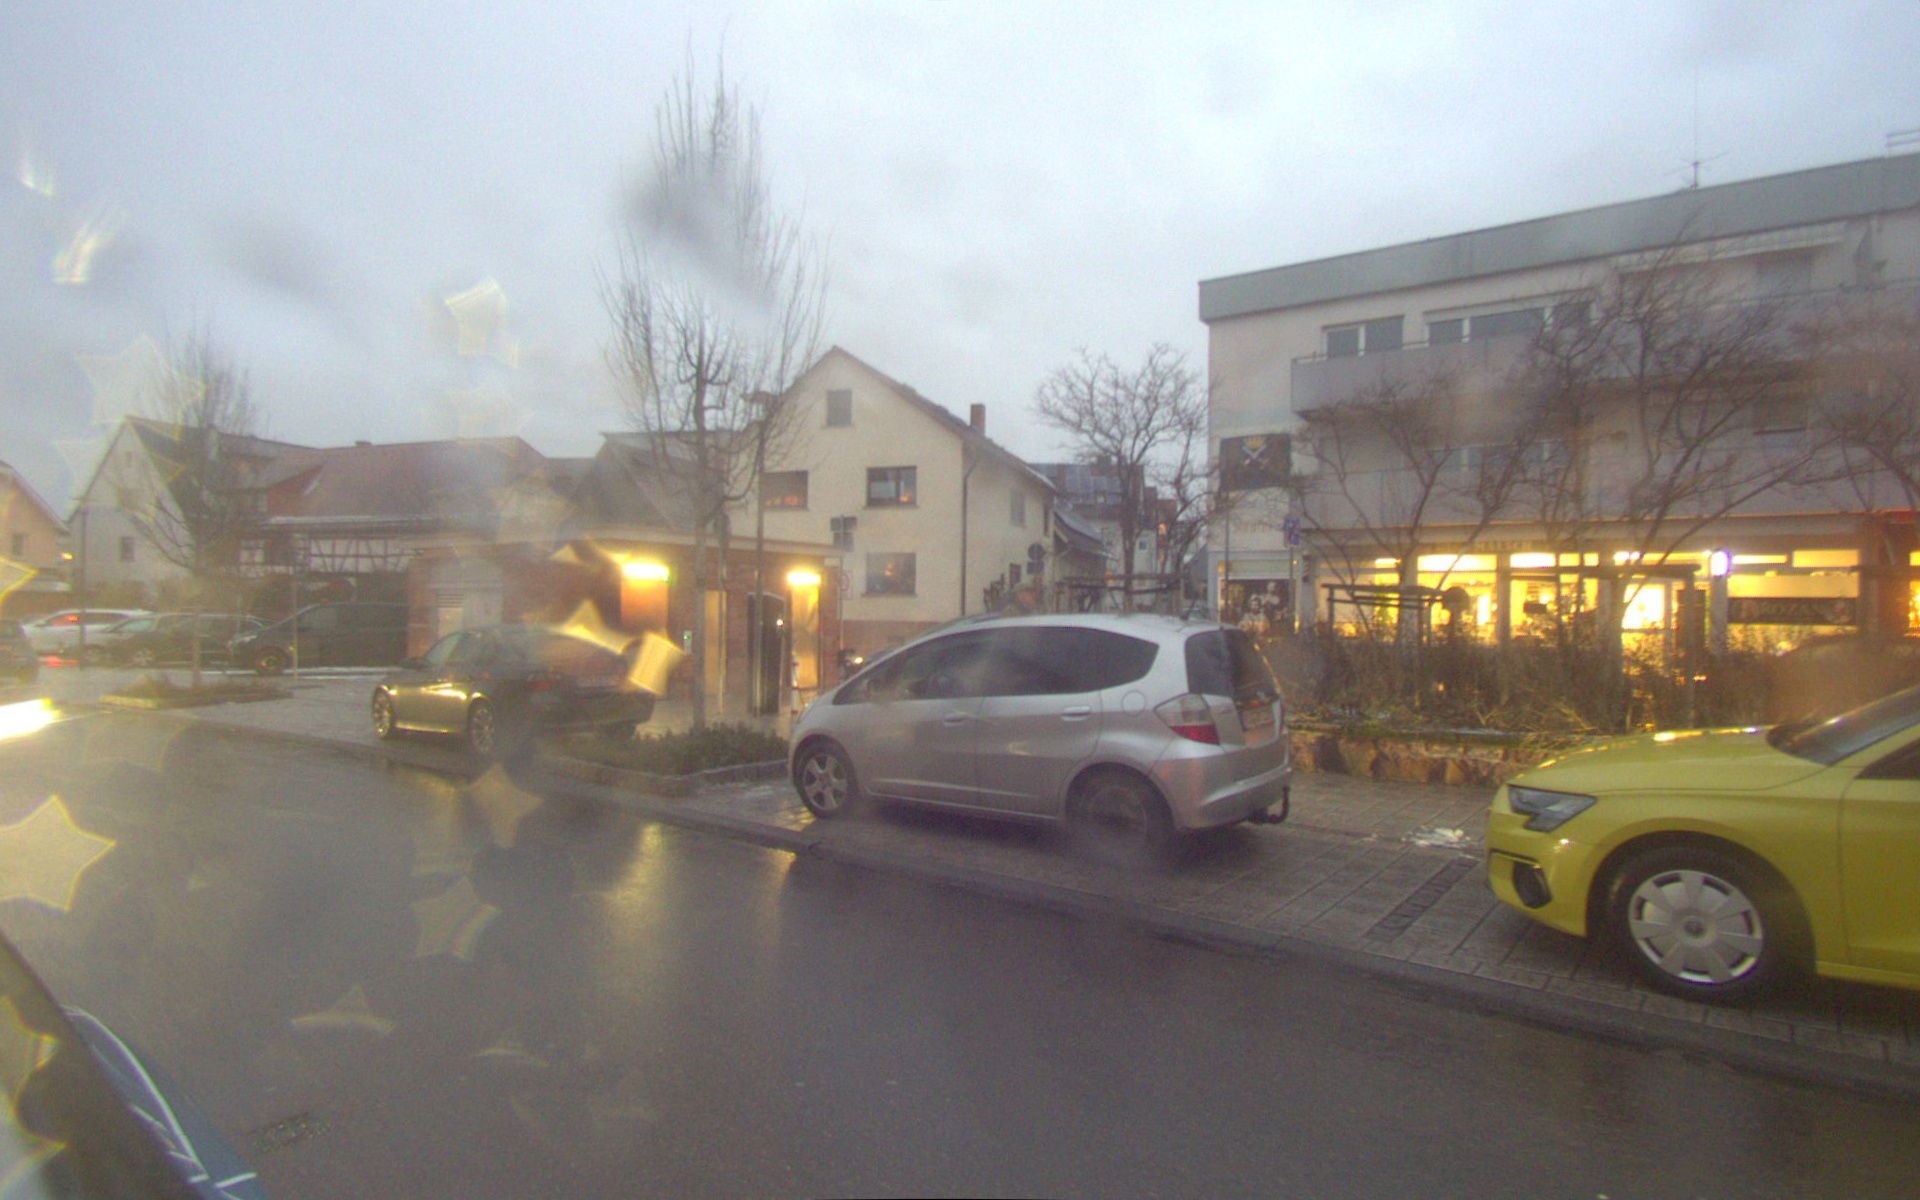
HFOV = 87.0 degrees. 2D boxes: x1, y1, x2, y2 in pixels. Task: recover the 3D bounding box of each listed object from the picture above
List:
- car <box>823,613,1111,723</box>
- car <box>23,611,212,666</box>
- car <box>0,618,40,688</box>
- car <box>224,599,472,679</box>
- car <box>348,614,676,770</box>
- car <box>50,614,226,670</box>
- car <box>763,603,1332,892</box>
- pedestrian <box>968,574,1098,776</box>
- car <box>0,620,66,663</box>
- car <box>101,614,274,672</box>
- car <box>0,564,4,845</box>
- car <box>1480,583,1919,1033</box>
[{"bbox_3d":[0.125,0.996,15.404,4.018,1.488,1.745,2,-3,-26],"label":"car"},{"bbox_3d":[-27.264,1.232,32.910,4.583,1.666,1.991,2,-2,-41],"label":"car"},{"bbox_3d":[-23.070,1.201,23.183,3.658,1.547,1.822,-1,-1,28],"label":"car"},{"bbox_3d":[-15.824,1.019,26.379,5.307,1.900,2.079,2,-3,-34],"label":"car"},{"bbox_3d":[-5.406,0.929,11.934,4.454,1.483,1.729,-1,0,39],"label":"car"},{"bbox_3d":[-25.146,1.279,31.074,4.049,1.594,1.723,2,-3,-41],"label":"car"},{"bbox_3d":[0.484,0.814,7.253,3.768,1.528,1.676,-1,0,38],"label":"car"},{"bbox_3d":[0.723,0.711,10.064,1.060,1.881,0.746,-1,-2,41],"label":"pedestrian"},{"bbox_3d":[-33.968,1.445,35.342,1.758,1.470,4.015,-1,-2,44],"label":"car"},{"bbox_3d":[-22.572,1.217,29.729,3.934,1.541,2.004,0,-1,-37],"label":"car"},{"bbox_3d":[-7.053,0.681,5.280,5.058,1.655,2.243,-1,-1,38],"label":"car"},{"bbox_3d":[4.434,0.691,3.556,4.341,1.527,1.730,-1,0,42],"label":"car"}]
